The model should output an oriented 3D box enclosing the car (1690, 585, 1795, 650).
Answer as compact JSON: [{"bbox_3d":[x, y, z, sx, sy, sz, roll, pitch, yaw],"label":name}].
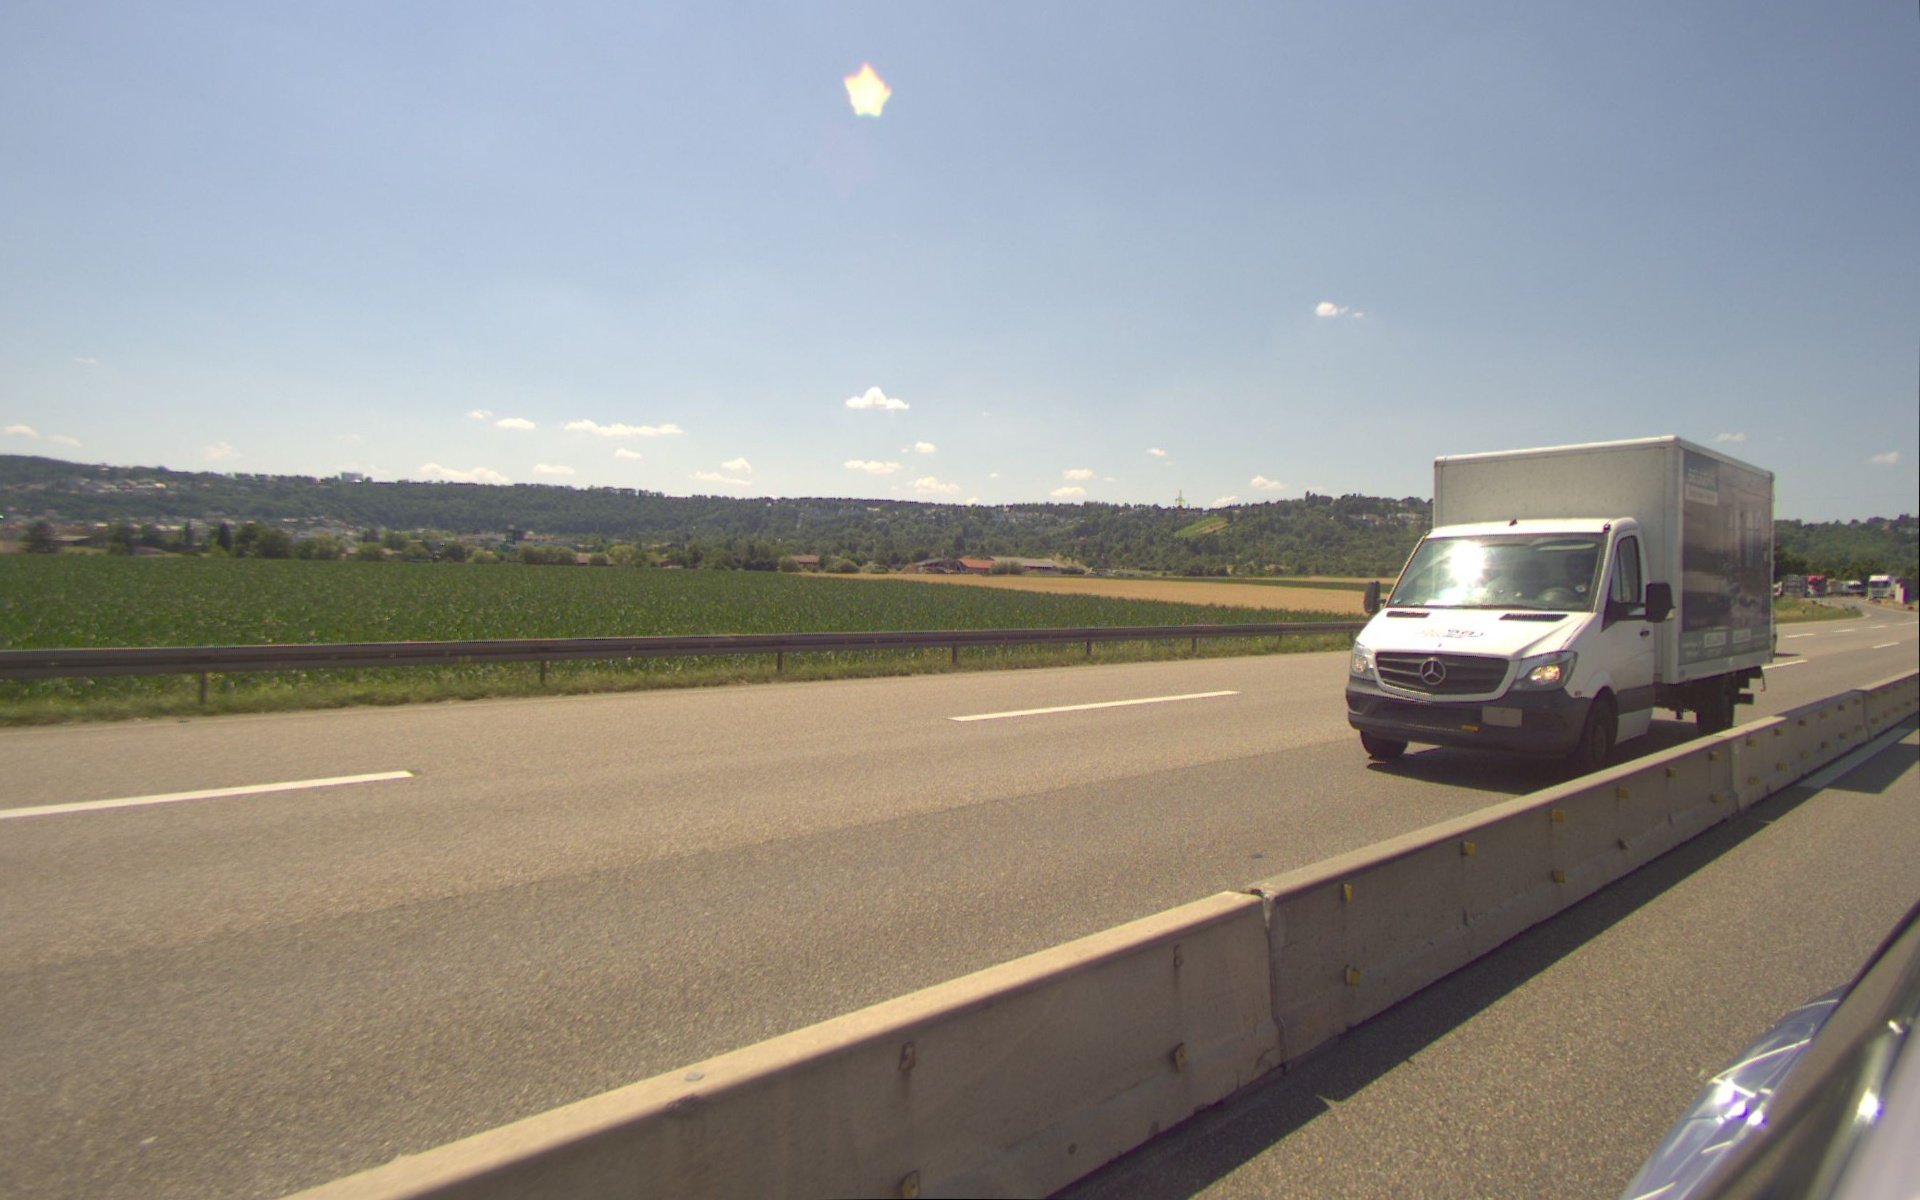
[{"bbox_3d":[22.590,0.475,29.168,3.902,1.759,1.630,1,0,-40],"label":"car"}]

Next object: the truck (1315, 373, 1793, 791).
[{"bbox_3d":[6.521,-0.116,10.589,6.632,3.106,2.325,1,0,-41],"label":"truck"}]
